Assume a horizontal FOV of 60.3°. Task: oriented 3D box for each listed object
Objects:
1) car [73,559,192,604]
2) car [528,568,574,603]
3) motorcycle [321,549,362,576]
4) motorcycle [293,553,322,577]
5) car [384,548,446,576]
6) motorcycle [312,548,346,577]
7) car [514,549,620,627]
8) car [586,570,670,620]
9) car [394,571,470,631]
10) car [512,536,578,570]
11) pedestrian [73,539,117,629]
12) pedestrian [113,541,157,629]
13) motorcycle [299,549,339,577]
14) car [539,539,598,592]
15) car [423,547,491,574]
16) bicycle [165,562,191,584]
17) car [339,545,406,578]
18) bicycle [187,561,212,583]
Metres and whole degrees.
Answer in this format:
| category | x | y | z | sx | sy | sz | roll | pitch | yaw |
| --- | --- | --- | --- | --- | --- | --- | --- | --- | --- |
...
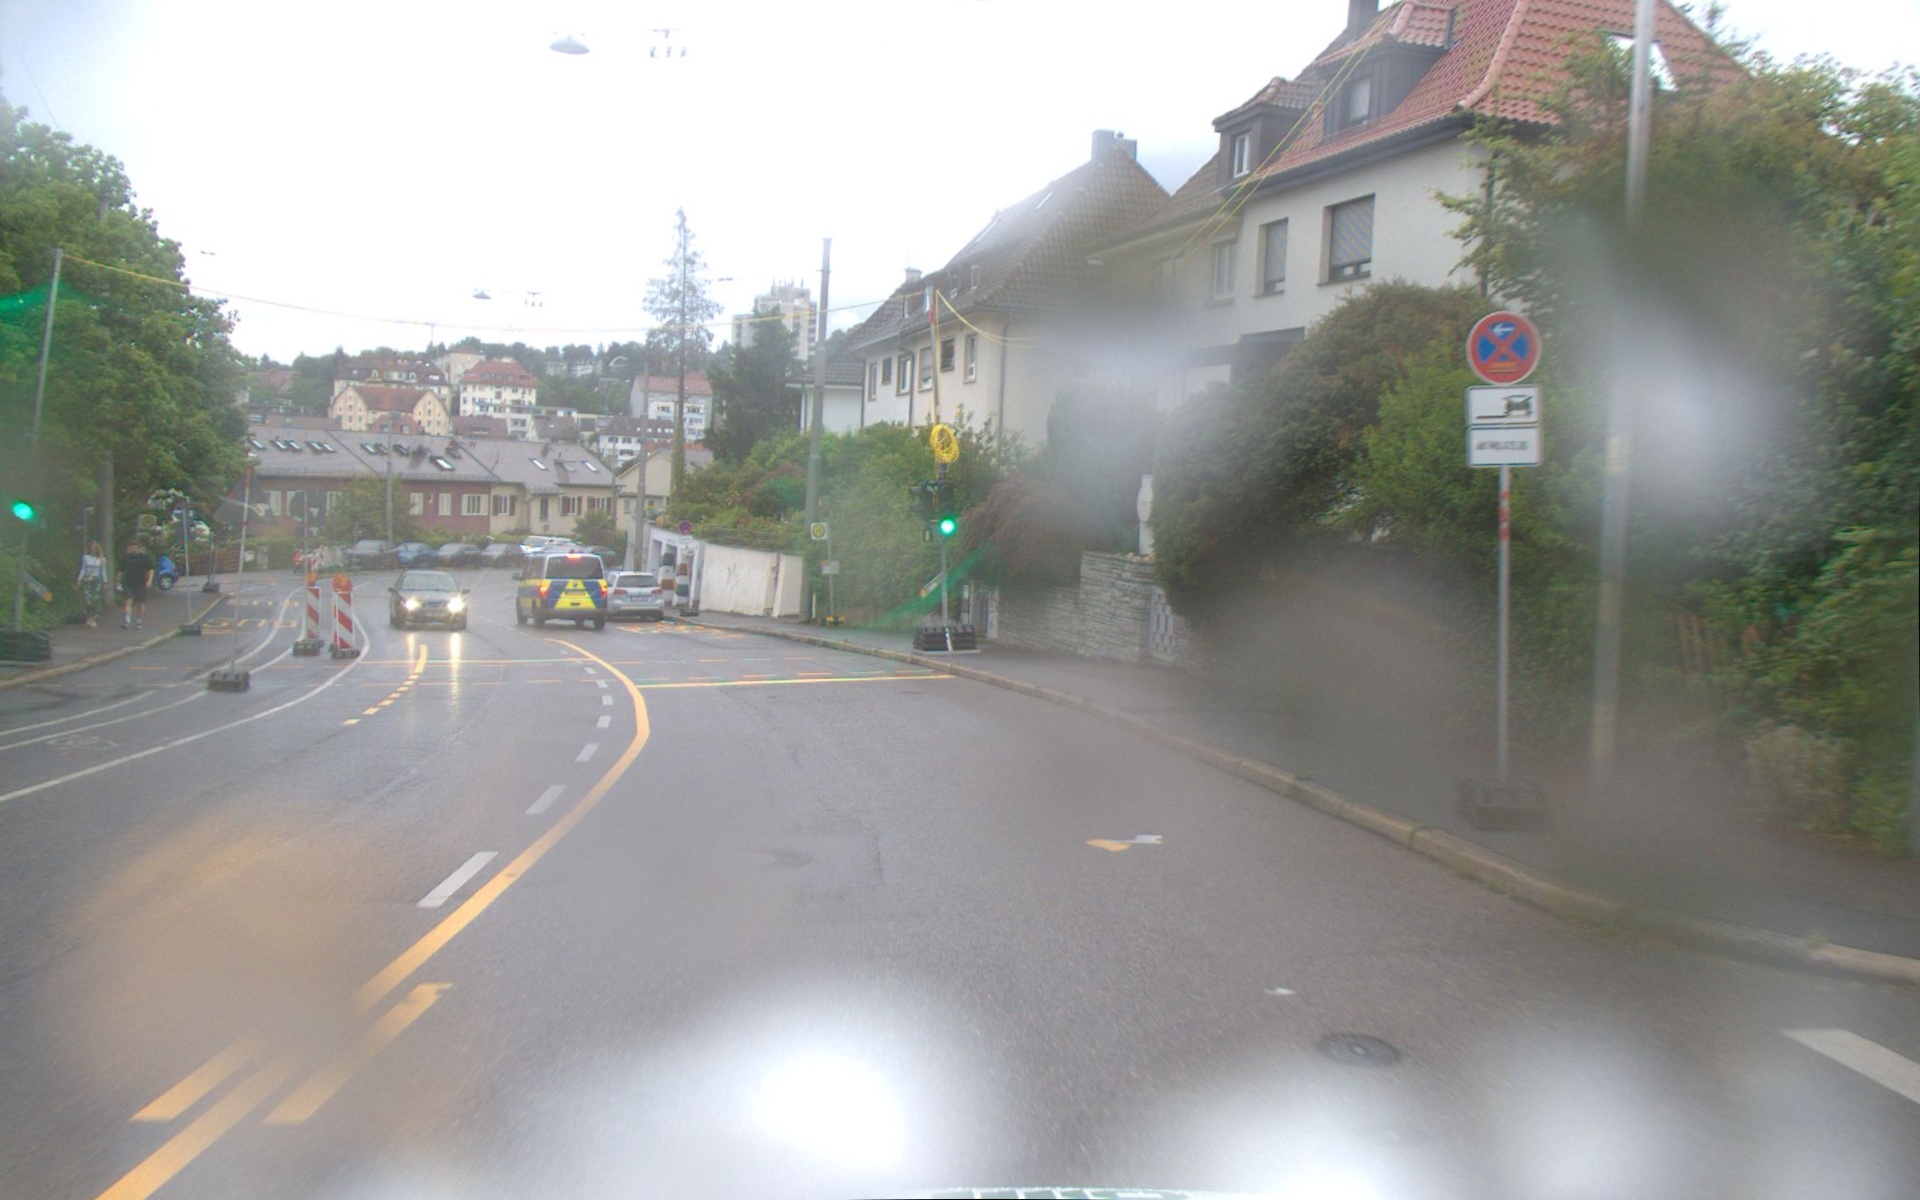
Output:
| category | x | y | z | sx | sy | sz | roll | pitch | yaw |
| --- | --- | --- | --- | --- | --- | --- | --- | --- | --- |
| car | -33.374 | -0.735 | 66.760 | 1.803 | 1.695 | 3.932 | 1 | 0 | 32 |
| car | -19.694 | -0.706 | 79.752 | 1.721 | 1.521 | 4.176 | 2 | 2 | -9 |
| motorcycle | -32.610 | -1.982 | 87.234 | 1.881 | 1.293 | 0.570 | 3 | 2 | -32 |
| motorcycle | -32.710 | -1.781 | 82.960 | 0.498 | 1.159 | 1.924 | 1 | 2 | 7 |
| car | -31.845 | -2.220 | 96.712 | 1.664 | 1.428 | 4.477 | 5 | 3 | 6 |
| motorcycle | -32.672 | -1.921 | 85.626 | 1.768 | 1.325 | 0.612 | 6 | 2 | 28 |
| car | -10.680 | -0.343 | 44.742 | 2.275 | 1.973 | 4.299 | -2 | 1 | -20 |
| car | -10.135 | -0.184 | 50.318 | 1.756 | 1.445 | 4.401 | 0 | 1 | -22 |
| car | -13.890 | -0.016 | 43.395 | 1.674 | 1.486 | 4.655 | 0 | 1 | -21 |
| car | -28.361 | -3.205 | 113.221 | 1.810 | 2.114 | 5.023 | 5 | 2 | 19 |
| pedestrian | -18.431 | -0.349 | 35.246 | 0.671 | 1.848 | 1.148 | 2 | 1 | -22 |
| pedestrian | -17.728 | -0.332 | 35.547 | 0.697 | 1.848 | 1.140 | 2 | 1 | -22 |
| motorcycle | -32.793 | -1.905 | 84.652 | 1.765 | 1.301 | 0.511 | 4 | 2 | 0 |
| car | -20.177 | -1.752 | 85.442 | 2.058 | 2.586 | 5.615 | 2 | 1 | -4 |
| car | -31.033 | -2.407 | 102.096 | 1.770 | 1.501 | 4.526 | 5 | 2 | 15 |
| bicycle | -38.995 | -1.347 | 82.464 | 1.296 | 1.053 | 0.305 | -1 | -2 | 19 |
| car | -32.458 | -2.157 | 91.515 | 1.882 | 1.603 | 4.390 | 5 | 2 | 2 |
| bicycle | -37.701 | -1.384 | 81.986 | 1.272 | 1.053 | 0.305 | -1 | -2 | 17 |
